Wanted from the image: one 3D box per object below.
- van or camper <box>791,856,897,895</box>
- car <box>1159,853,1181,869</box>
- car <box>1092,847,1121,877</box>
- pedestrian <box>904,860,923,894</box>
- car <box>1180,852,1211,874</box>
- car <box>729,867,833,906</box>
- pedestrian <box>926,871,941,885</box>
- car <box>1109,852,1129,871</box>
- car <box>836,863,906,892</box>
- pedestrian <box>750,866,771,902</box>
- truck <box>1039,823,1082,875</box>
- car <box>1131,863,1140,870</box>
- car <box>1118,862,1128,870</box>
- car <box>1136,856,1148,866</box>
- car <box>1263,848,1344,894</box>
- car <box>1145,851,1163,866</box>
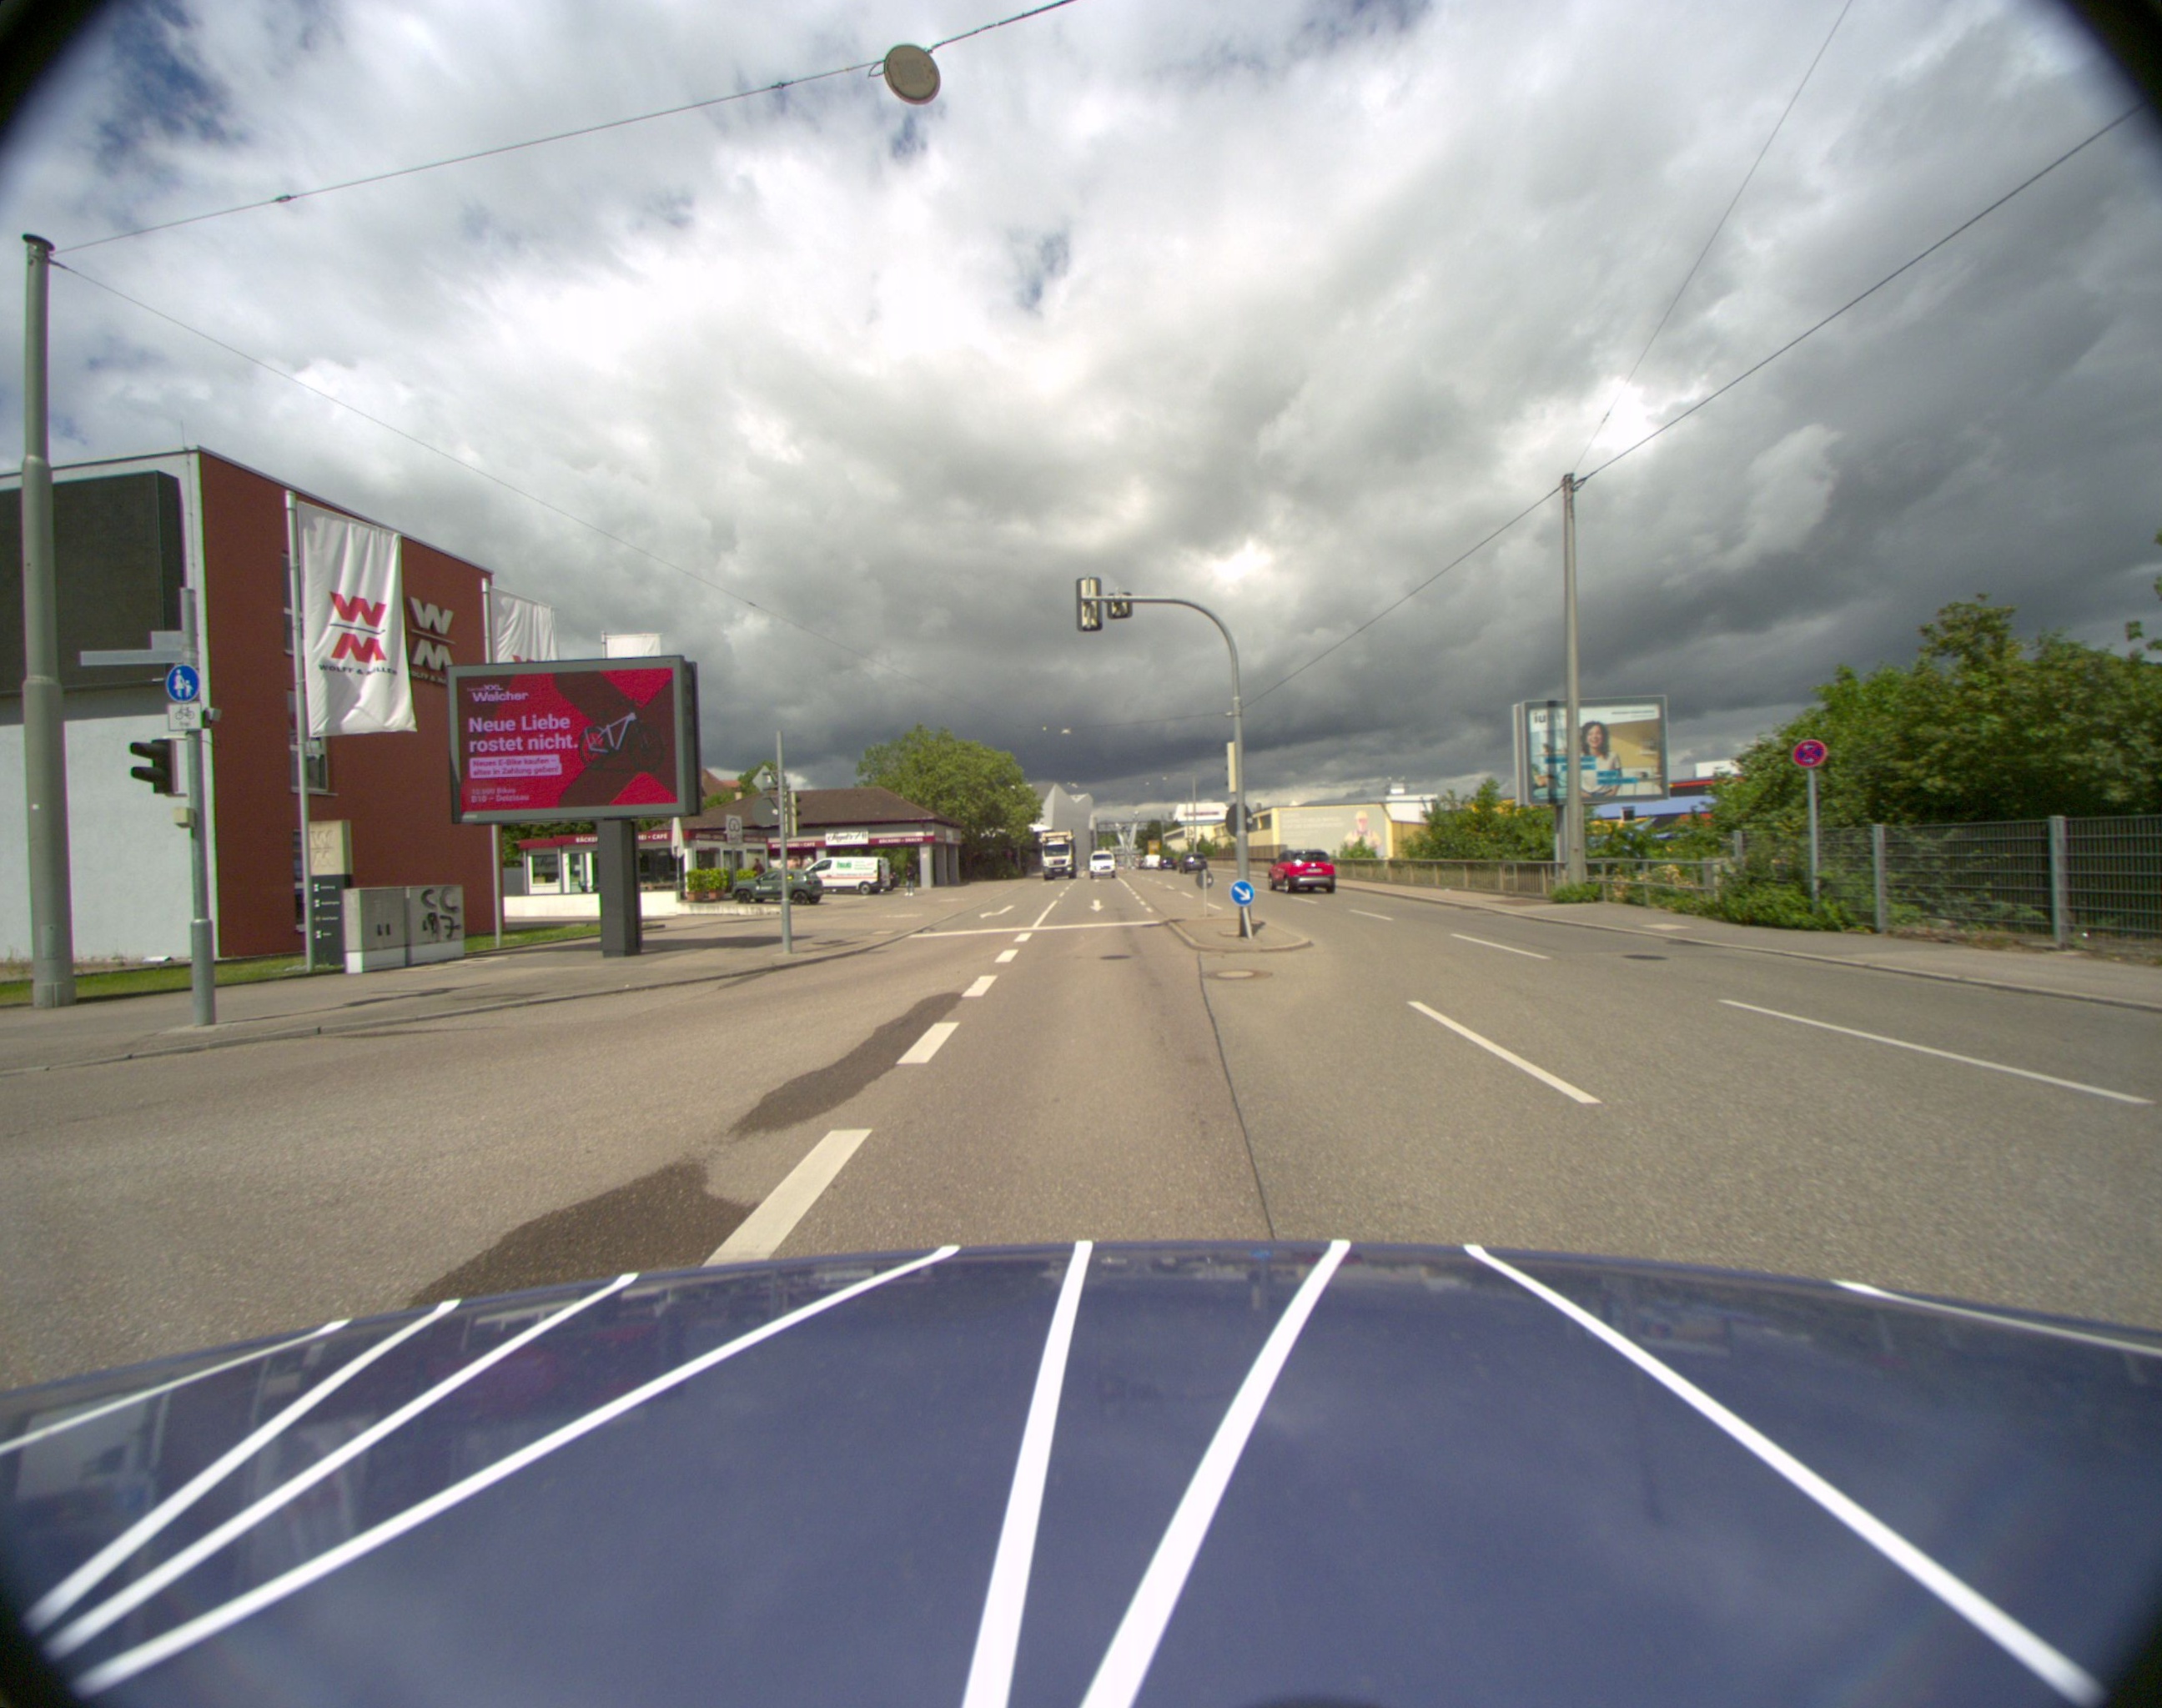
[{"bbox_3d":[-12.547,1.094,40.463,4.909,1.946,2.212,0,1,2],"label":"van or camper"},{"bbox_3d":[9.379,0.708,79.946,1.860,1.608,4.000,-2,0,1],"label":"car"},{"bbox_3d":[1.964,0.594,57.029,1.935,2.078,4.209,-2,0,4],"label":"car"},{"bbox_3d":[-8.482,1.162,38.464,0.714,1.697,0.739,-2,0,2],"label":"pedestrian"},{"bbox_3d":[9.059,0.699,60.283,1.860,1.608,4.000,-2,0,1],"label":"car"},{"bbox_3d":[-12.689,1.352,32.287,3.675,1.477,1.762,2,1,3],"label":"car"},{"bbox_3d":[-14.126,2.305,72.680,0.884,1.241,0.967,-2,0,30],"label":"pedestrian"},{"bbox_3d":[3.901,0.769,78.913,1.870,1.781,4.208,-2,0,0],"label":"car"},{"bbox_3d":[-11.957,1.348,43.465,3.460,1.477,1.835,2,1,-1],"label":"car"},{"bbox_3d":[-15.562,1.453,36.879,0.749,1.697,0.571,-1,0,28],"label":"pedestrian"},{"bbox_3d":[-1.555,-0.356,63.411,2.836,3.888,10.368,-2,-1,2],"label":"truck"},{"bbox_3d":[11.539,2.698,160.504,1.612,1.404,3.800,-1,-1,-1],"label":"car"},{"bbox_3d":[8.994,2.556,164.001,1.806,1.543,3.770,-2,0,-1],"label":"car"},{"bbox_3d":[9.571,1.092,119.554,1.612,1.404,3.799,-2,0,-1],"label":"car"},{"bbox_3d":[8.283,0.603,28.671,1.935,1.590,4.153,0,0,1],"label":"car"},{"bbox_3d":[9.951,0.626,103.453,1.896,2.002,5.650,-2,0,1],"label":"car"}]
